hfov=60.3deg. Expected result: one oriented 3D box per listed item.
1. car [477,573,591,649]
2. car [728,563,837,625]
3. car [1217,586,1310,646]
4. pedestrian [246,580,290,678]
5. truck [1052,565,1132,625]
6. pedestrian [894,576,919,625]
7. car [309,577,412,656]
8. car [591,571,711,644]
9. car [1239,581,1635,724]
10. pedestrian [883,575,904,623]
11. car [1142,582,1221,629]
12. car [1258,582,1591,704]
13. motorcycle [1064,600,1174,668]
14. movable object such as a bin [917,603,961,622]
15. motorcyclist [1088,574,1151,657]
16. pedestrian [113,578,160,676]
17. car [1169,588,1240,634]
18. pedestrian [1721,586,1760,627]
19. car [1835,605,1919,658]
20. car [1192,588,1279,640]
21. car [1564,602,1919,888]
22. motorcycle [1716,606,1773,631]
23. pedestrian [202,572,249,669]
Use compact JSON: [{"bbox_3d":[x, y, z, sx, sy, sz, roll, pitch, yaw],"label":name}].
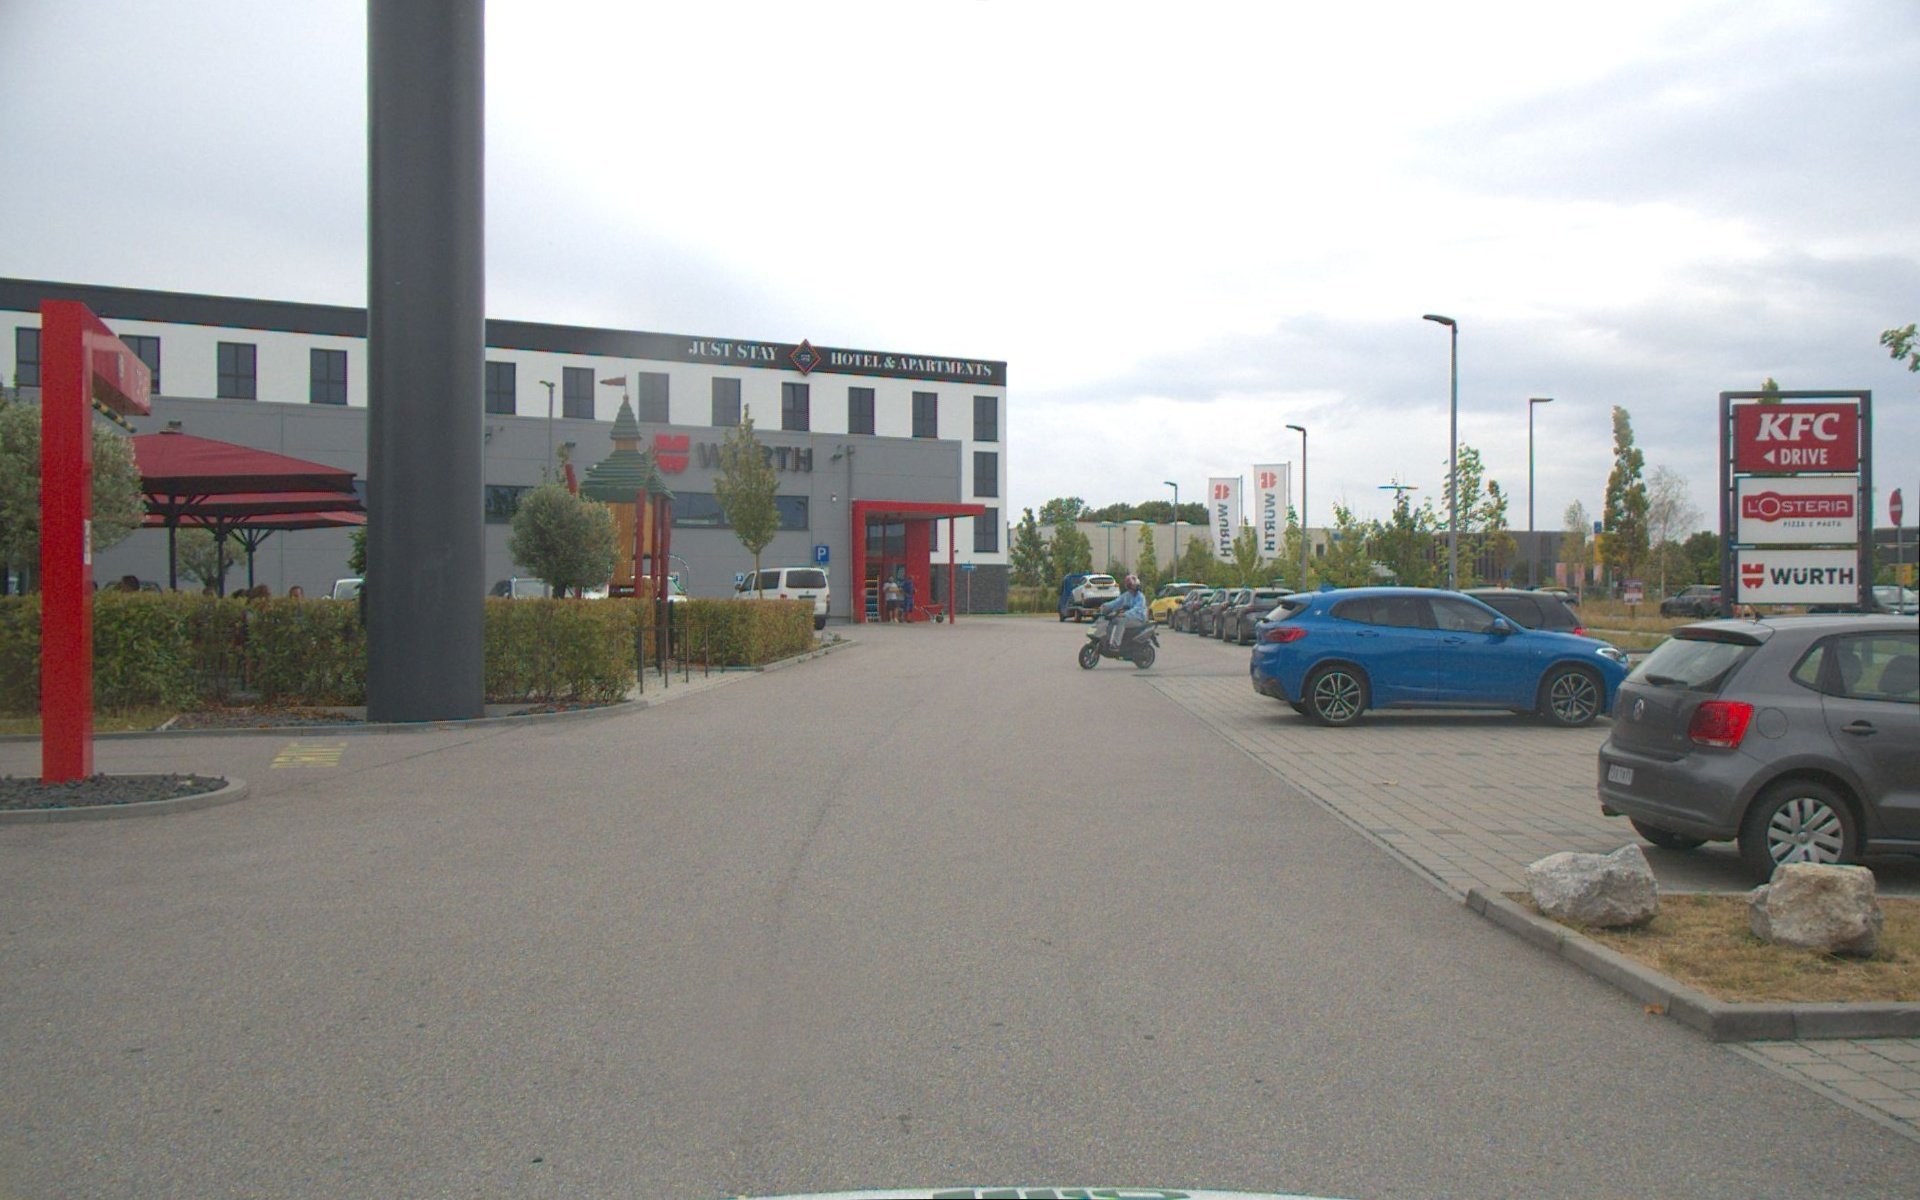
[{"bbox_3d":[-10.341,0.262,39.944,1.967,1.679,4.544,-2,0,-23],"label":"car"},{"bbox_3d":[-5.907,-0.182,54.786,2.035,1.887,4.018,-4,1,-31],"label":"car"},{"bbox_3d":[8.011,0.393,44.014,1.715,1.495,4.476,0,0,1],"label":"car"},{"bbox_3d":[-8.785,0.359,20.998,0.412,1.220,0.455,-2,0,-14],"label":"pedestrian"},{"bbox_3d":[6.205,-0.171,79.020,2.287,2.449,7.883,1,-2,-7],"label":"truck"},{"bbox_3d":[-2.023,0.013,62.893,0.667,1.834,0.875,1,0,-21],"label":"pedestrian"},{"bbox_3d":[-14.032,0.376,38.556,1.967,1.679,4.544,-2,0,-23],"label":"car"},{"bbox_3d":[-7.760,0.180,41.230,1.967,1.679,4.544,-2,0,-23],"label":"car"},{"bbox_3d":[5.446,0.575,19.289,4.114,1.571,1.865,0,0,2],"label":"car"},{"bbox_3d":[-2.477,-0.045,61.418,0.613,1.782,0.902,0,0,-15],"label":"pedestrian"},{"bbox_3d":[8.322,0.212,62.527,1.823,1.679,3.991,1,-1,-10],"label":"car"},{"bbox_3d":[6.059,0.543,21.948,3.976,1.485,1.777,-1,1,4],"label":"car"},{"bbox_3d":[2.953,0.621,30.718,1.886,1.229,0.791,0,0,-19],"label":"motorcycle"},{"bbox_3d":[-0.817,0.480,63.581,1.467,0.716,0.959,1,-1,-22],"label":"movable object such as a bin"},{"bbox_3d":[2.958,0.276,30.714,0.924,1.515,0.826,0,0,-18],"label":"motorcyclist"},{"bbox_3d":[-10.448,0.341,20.986,0.412,1.220,0.455,-2,0,-14],"label":"pedestrian"},{"bbox_3d":[8.259,0.339,56.155,1.716,1.495,4.106,0,0,-2],"label":"car"},{"bbox_3d":[25.180,0.205,53.370,0.787,1.304,0.898,-1,-1,-2],"label":"pedestrian"},{"bbox_3d":[25.473,0.830,45.235,1.431,1.360,3.163,0,0,0],"label":"car"},{"bbox_3d":[8.215,0.394,49.653,1.716,1.495,4.474,0,0,-2],"label":"car"},{"bbox_3d":[5.752,0.792,9.511,3.905,1.453,1.727,1,0,0],"label":"car"},{"bbox_3d":[25.219,0.596,53.215,0.797,0.787,2.026,-1,-1,-2],"label":"motorcycle"},{"bbox_3d":[-13.730,0.380,30.929,0.730,1.778,0.699,-2,0,-22],"label":"pedestrian"}]
